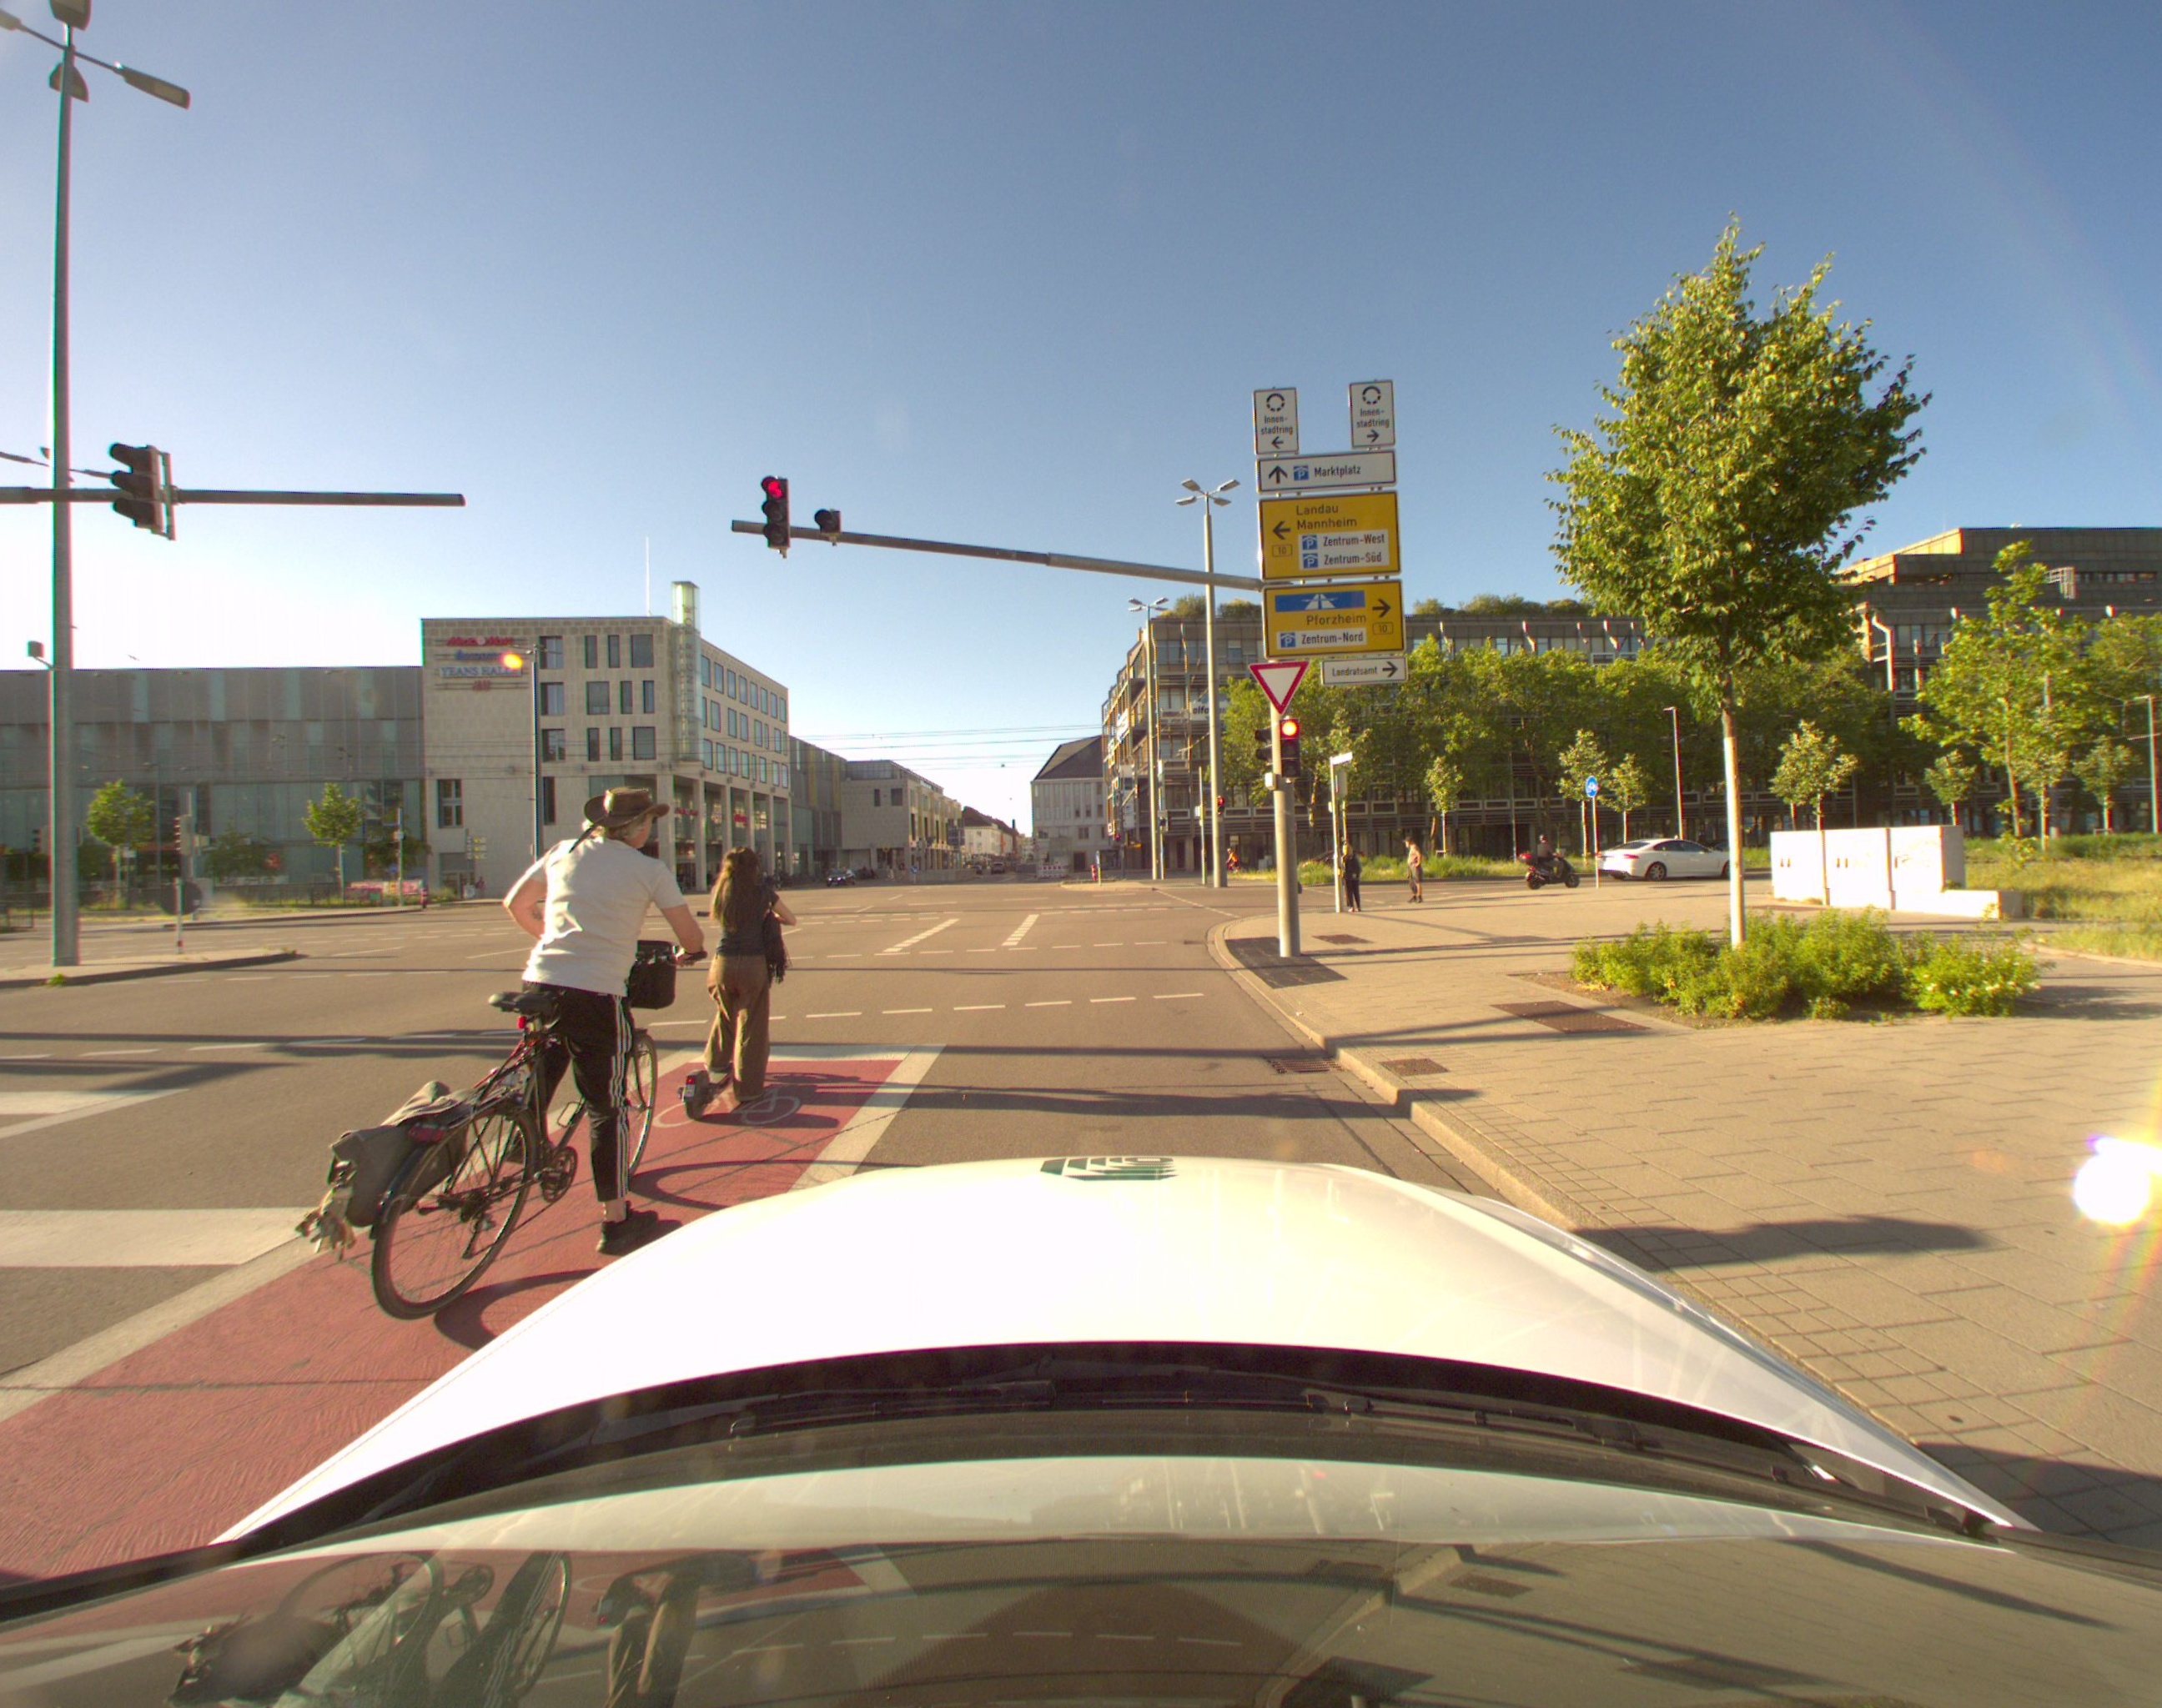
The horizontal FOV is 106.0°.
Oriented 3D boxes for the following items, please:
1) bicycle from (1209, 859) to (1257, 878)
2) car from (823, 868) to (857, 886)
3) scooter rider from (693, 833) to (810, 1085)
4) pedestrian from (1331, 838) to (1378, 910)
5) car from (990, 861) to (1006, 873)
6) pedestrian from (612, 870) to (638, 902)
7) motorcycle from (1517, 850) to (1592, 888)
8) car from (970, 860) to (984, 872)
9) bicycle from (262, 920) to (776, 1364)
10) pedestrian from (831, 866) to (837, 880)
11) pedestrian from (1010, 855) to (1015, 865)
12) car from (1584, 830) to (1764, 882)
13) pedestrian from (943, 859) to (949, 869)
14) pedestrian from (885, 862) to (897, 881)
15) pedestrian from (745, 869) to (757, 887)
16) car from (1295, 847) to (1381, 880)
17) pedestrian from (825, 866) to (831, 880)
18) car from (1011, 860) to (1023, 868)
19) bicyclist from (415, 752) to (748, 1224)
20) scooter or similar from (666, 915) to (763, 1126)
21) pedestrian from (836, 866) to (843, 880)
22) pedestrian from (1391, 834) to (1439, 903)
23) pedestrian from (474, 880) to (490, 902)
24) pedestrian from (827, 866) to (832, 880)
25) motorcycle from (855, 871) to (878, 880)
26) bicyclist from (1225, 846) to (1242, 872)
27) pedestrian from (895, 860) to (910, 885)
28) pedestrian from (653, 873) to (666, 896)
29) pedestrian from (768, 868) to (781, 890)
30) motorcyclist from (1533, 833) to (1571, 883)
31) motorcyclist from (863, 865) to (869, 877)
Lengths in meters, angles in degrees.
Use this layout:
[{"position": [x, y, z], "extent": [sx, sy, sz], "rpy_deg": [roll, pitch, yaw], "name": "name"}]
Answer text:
[{"position": [8.757, 0.821, 47.059], "extent": [2.561, 0.975, 1.047], "rpy_deg": [-2, 0, -1], "name": "bicycle"}, {"position": [-20.777, 1.993, 70.446], "extent": [1.670, 1.357, 4.021], "rpy_deg": [-2, 0, 1], "name": "car"}, {"position": [-2.115, 0.646, 5.267], "extent": [0.552, 1.530, 0.448], "rpy_deg": [-2, 0, -7], "name": "scooter rider"}, {"position": [6.364, 0.455, 18.971], "extent": [0.763, 1.614, 0.874], "rpy_deg": [-2, 0, 0], "name": "pedestrian"}, {"position": [-11.016, 1.751, 108.530], "extent": [1.652, 1.458, 3.543], "rpy_deg": [-2, 0, 2], "name": "car"}, {"position": [-25.123, 1.762, 44.913], "extent": [0.821, 1.675, 1.004], "rpy_deg": [-2, 0, -2], "name": "pedestrian"}, {"position": [14.426, 0.450, 24.815], "extent": [1.952, 1.100, 0.648], "rpy_deg": [-2, 0, -6], "name": "motorcycle"}, {"position": [-15.315, 1.701, 119.955], "extent": [1.816, 1.684, 3.994], "rpy_deg": [-2, 0, -4], "name": "car"}, {"position": [-2.029, 0.934, 3.368], "extent": [0.736, 1.147, 1.891], "rpy_deg": [-2, 0, 2], "name": "bicycle"}, {"position": [-30.687, 2.392, 101.104], "extent": [0.465, 1.729, 0.632], "rpy_deg": [-1, -1, 35], "name": "pedestrian"}, {"position": [-13.900, 1.191, 165.265], "extent": [0.907, 1.965, 0.823], "rpy_deg": [0, -1, 1], "name": "pedestrian"}, {"position": [20.467, 0.048, 28.199], "extent": [5.080, 1.564, 1.995], "rpy_deg": [-2, 0, -8], "name": "car"}, {"position": [-22.883, 1.712, 138.304], "extent": [0.678, 1.598, 0.841], "rpy_deg": [-2, 0, 11], "name": "pedestrian"}, {"position": [-18.552, 1.679, 79.477], "extent": [0.896, 1.782, 0.809], "rpy_deg": [-2, 0, 1], "name": "pedestrian"}, {"position": [-29.828, 2.160, 73.663], "extent": [0.771, 1.638, 0.628], "rpy_deg": [-2, 0, 16], "name": "pedestrian"}, {"position": [14.557, 0.533, 46.220], "extent": [4.287, 1.684, 1.820], "rpy_deg": [-2, 0, -9], "name": "car"}, {"position": [-32.045, 2.389, 103.240], "extent": [0.465, 1.729, 0.524], "rpy_deg": [-1, -1, 40], "name": "pedestrian"}, {"position": [-11.475, 1.804, 146.328], "extent": [1.652, 1.458, 3.543], "rpy_deg": [-2, 0, 2], "name": "car"}, {"position": [-2.004, 0.491, 3.405], "extent": [0.802, 1.700, 0.852], "rpy_deg": [-2, 0, 1], "name": "bicyclist"}, {"position": [-2.212, 0.958, 4.971], "extent": [0.306, 1.107, 0.835], "rpy_deg": [-2, 0, -9], "name": "scooter or similar"}, {"position": [-30.202, 2.394, 101.829], "extent": [0.465, 1.729, 0.699], "rpy_deg": [-1, -1, 40], "name": "pedestrian"}, {"position": [8.618, 0.370, 21.047], "extent": [0.869, 1.706, 0.768], "rpy_deg": [-2, 0, 0], "name": "pedestrian"}, {"position": [-43.474, 2.672, 59.106], "extent": [0.590, 1.541, 0.629], "rpy_deg": [-2, 0, 1], "name": "pedestrian"}, {"position": [-31.681, 2.411, 102.580], "extent": [0.465, 1.729, 0.524], "rpy_deg": [-1, -1, 40], "name": "pedestrian"}, {"position": [-25.907, 2.626, 98.364], "extent": [2.600, 0.993, 1.113], "rpy_deg": [0, -1, -8], "name": "motorcycle"}, {"position": [8.819, 0.311, 47.073], "extent": [0.820, 1.474, 0.652], "rpy_deg": [-2, 0, -2], "name": "bicyclist"}, {"position": [-13.891, 1.452, 63.451], "extent": [0.935, 1.864, 0.541], "rpy_deg": [-2, 0, 18], "name": "pedestrian"}, {"position": [-30.912, 2.235, 59.769], "extent": [0.590, 1.646, 0.629], "rpy_deg": [-2, 0, 1], "name": "pedestrian"}, {"position": [-24.397, 1.985, 64.863], "extent": [0.697, 1.688, 0.620], "rpy_deg": [-2, 0, 2], "name": "pedestrian"}, {"position": [14.348, 0.117, 24.813], "extent": [0.748, 1.479, 0.598], "rpy_deg": [-2, 0, -6], "name": "motorcyclist"}, {"position": [-26.010, 2.087, 98.533], "extent": [0.627, 1.406, 0.661], "rpy_deg": [0, -1, -7], "name": "motorcyclist"}]
